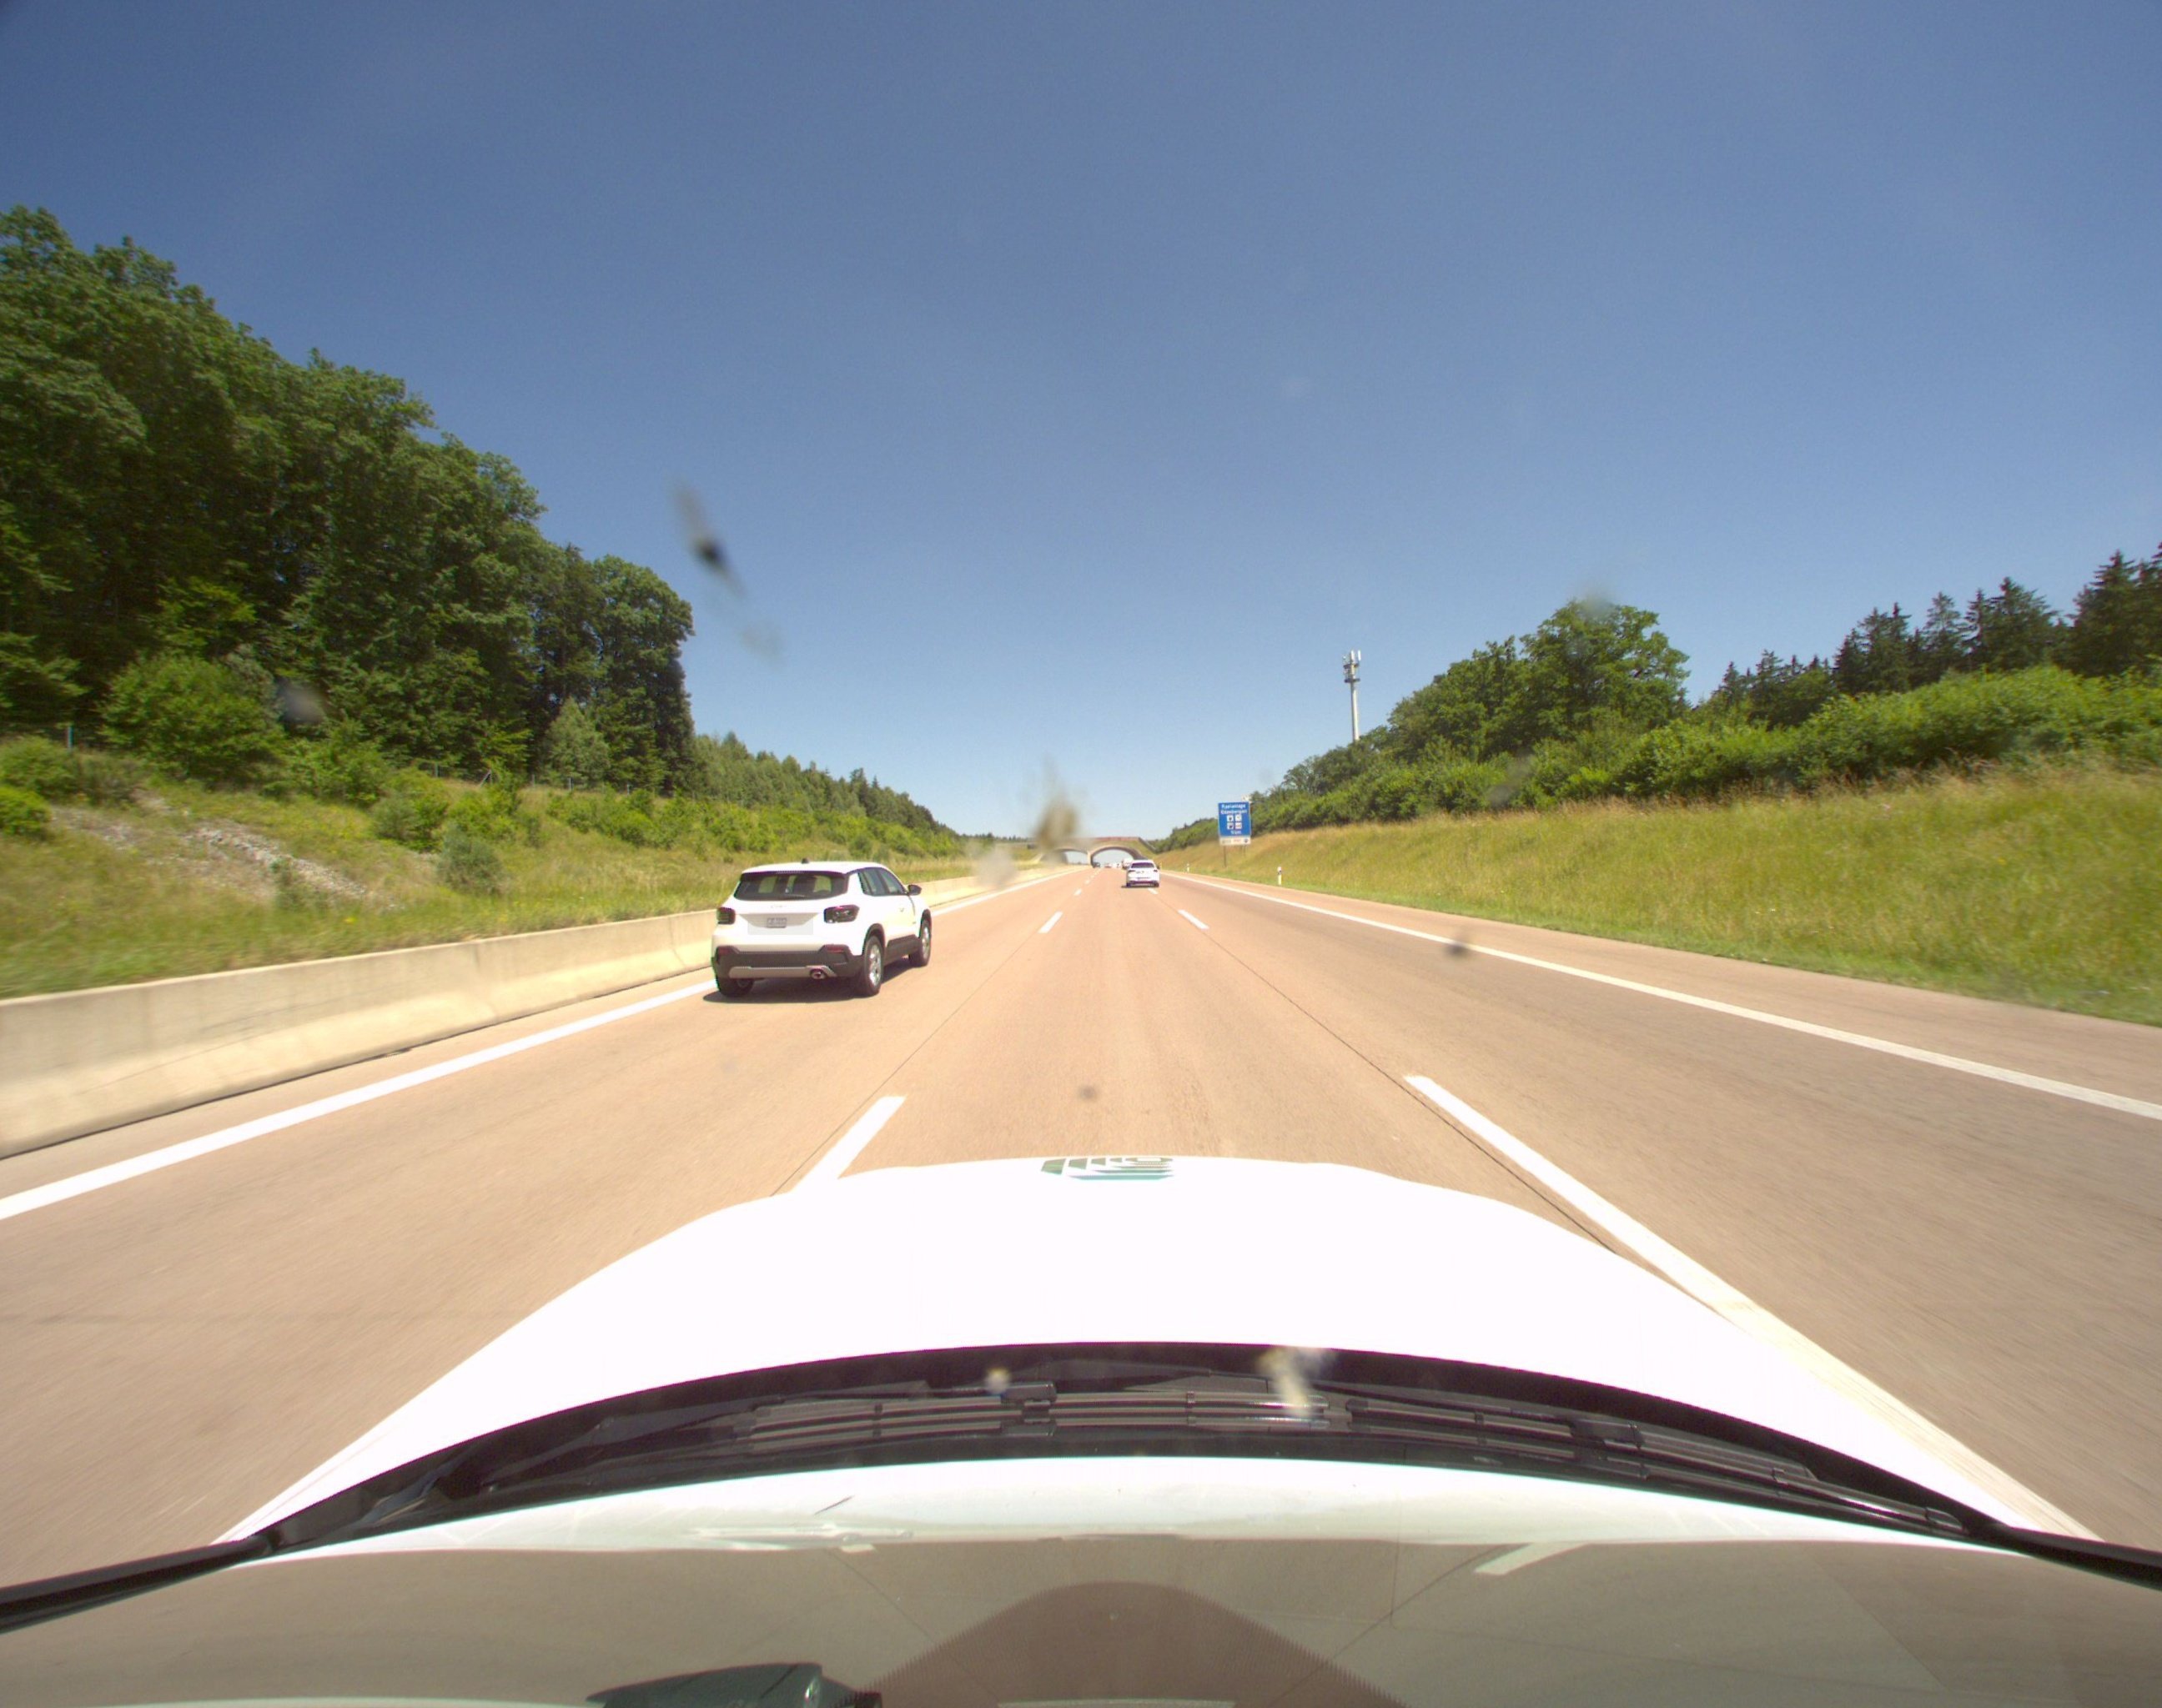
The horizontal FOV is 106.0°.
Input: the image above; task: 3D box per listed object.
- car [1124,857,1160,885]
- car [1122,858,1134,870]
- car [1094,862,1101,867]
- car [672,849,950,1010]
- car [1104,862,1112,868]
[{"bbox_3d":[3.286,0.886,44.159,1.882,1.398,4.004,0,0,4],"label":"car"},{"bbox_3d":[8.337,1.736,143.727,2.101,2.054,4.004,-1,0,4],"label":"car"},{"bbox_3d":[5.015,3.307,249.346,1.882,1.463,4.004,-1,0,4],"label":"car"},{"bbox_3d":[-3.133,0.782,10.685,1.872,1.607,4.836,-1,0,2],"label":"car"},{"bbox_3d":[7.277,2.915,219.366,1.883,1.463,4.002,0,0,2],"label":"car"}]
